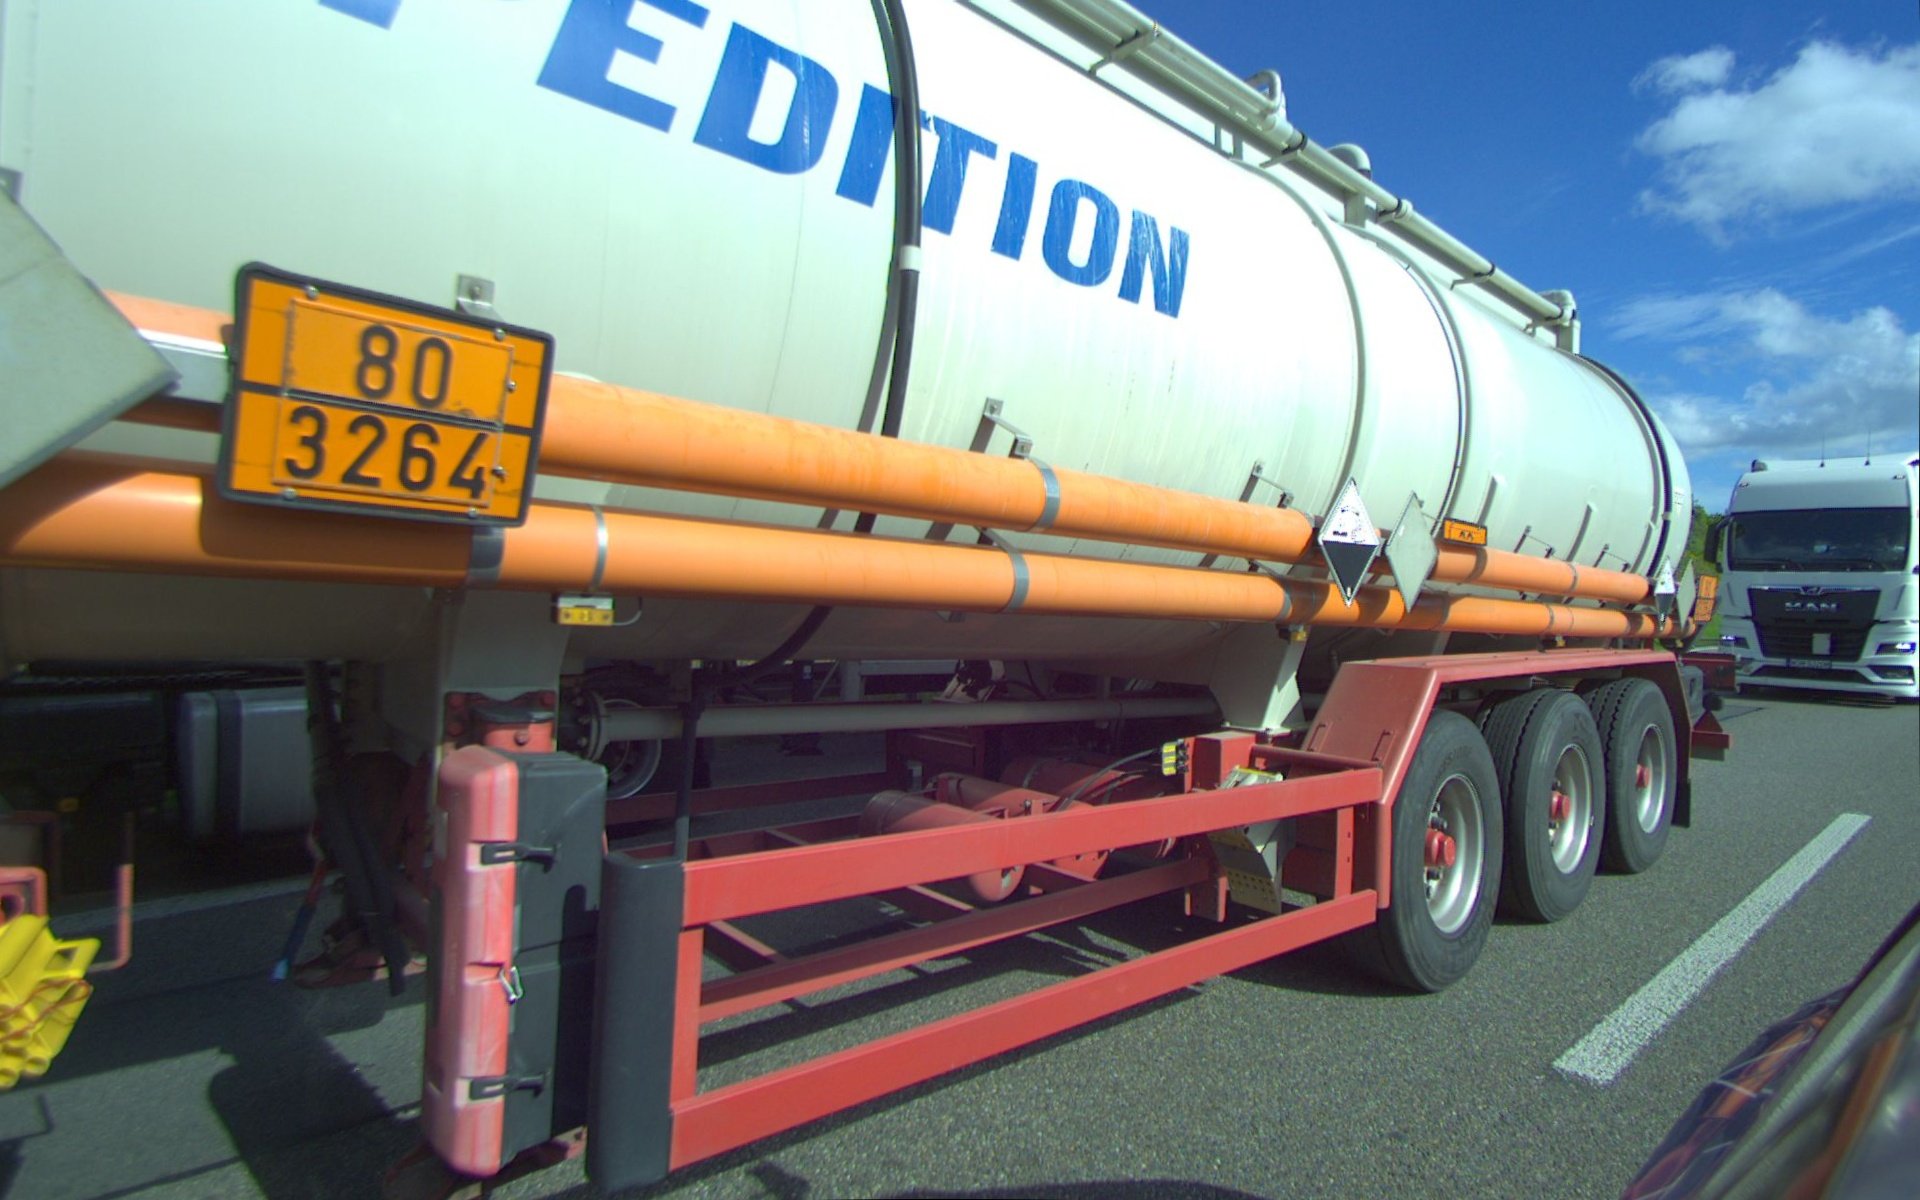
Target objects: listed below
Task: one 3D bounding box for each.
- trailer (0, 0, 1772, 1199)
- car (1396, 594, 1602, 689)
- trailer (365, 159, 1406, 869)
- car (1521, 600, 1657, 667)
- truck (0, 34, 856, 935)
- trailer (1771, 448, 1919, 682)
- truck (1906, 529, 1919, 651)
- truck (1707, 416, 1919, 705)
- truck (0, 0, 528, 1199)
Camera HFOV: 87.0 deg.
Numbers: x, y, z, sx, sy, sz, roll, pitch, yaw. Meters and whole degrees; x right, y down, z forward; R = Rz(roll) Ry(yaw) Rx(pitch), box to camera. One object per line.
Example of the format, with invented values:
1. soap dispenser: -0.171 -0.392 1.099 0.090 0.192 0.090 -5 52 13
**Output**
1. trailer: 0.867 -0.466 4.535 10.441 3.700 2.545 0 1 -41
2. car: 10.010 0.670 18.629 4.656 1.532 1.903 0 0 -42
3. trailer: 0.559 -0.489 9.612 10.441 3.643 2.546 0 1 -41
4. car: 14.079 0.692 22.600 3.674 1.369 1.635 0 0 -42
5. truck: -4.039 -0.489 5.589 6.658 3.618 2.534 0 1 -41
6. trailer: 21.277 -0.620 22.650 12.718 4.133 2.707 0 1 -41
7. truck: 34.234 -0.335 34.199 6.874 3.918 2.651 0 0 -41
8. truck: 15.255 -0.604 17.319 6.251 4.110 2.713 0 1 -41
9. truck: -3.952 -0.506 0.295 6.612 3.629 2.538 0 0 -41
